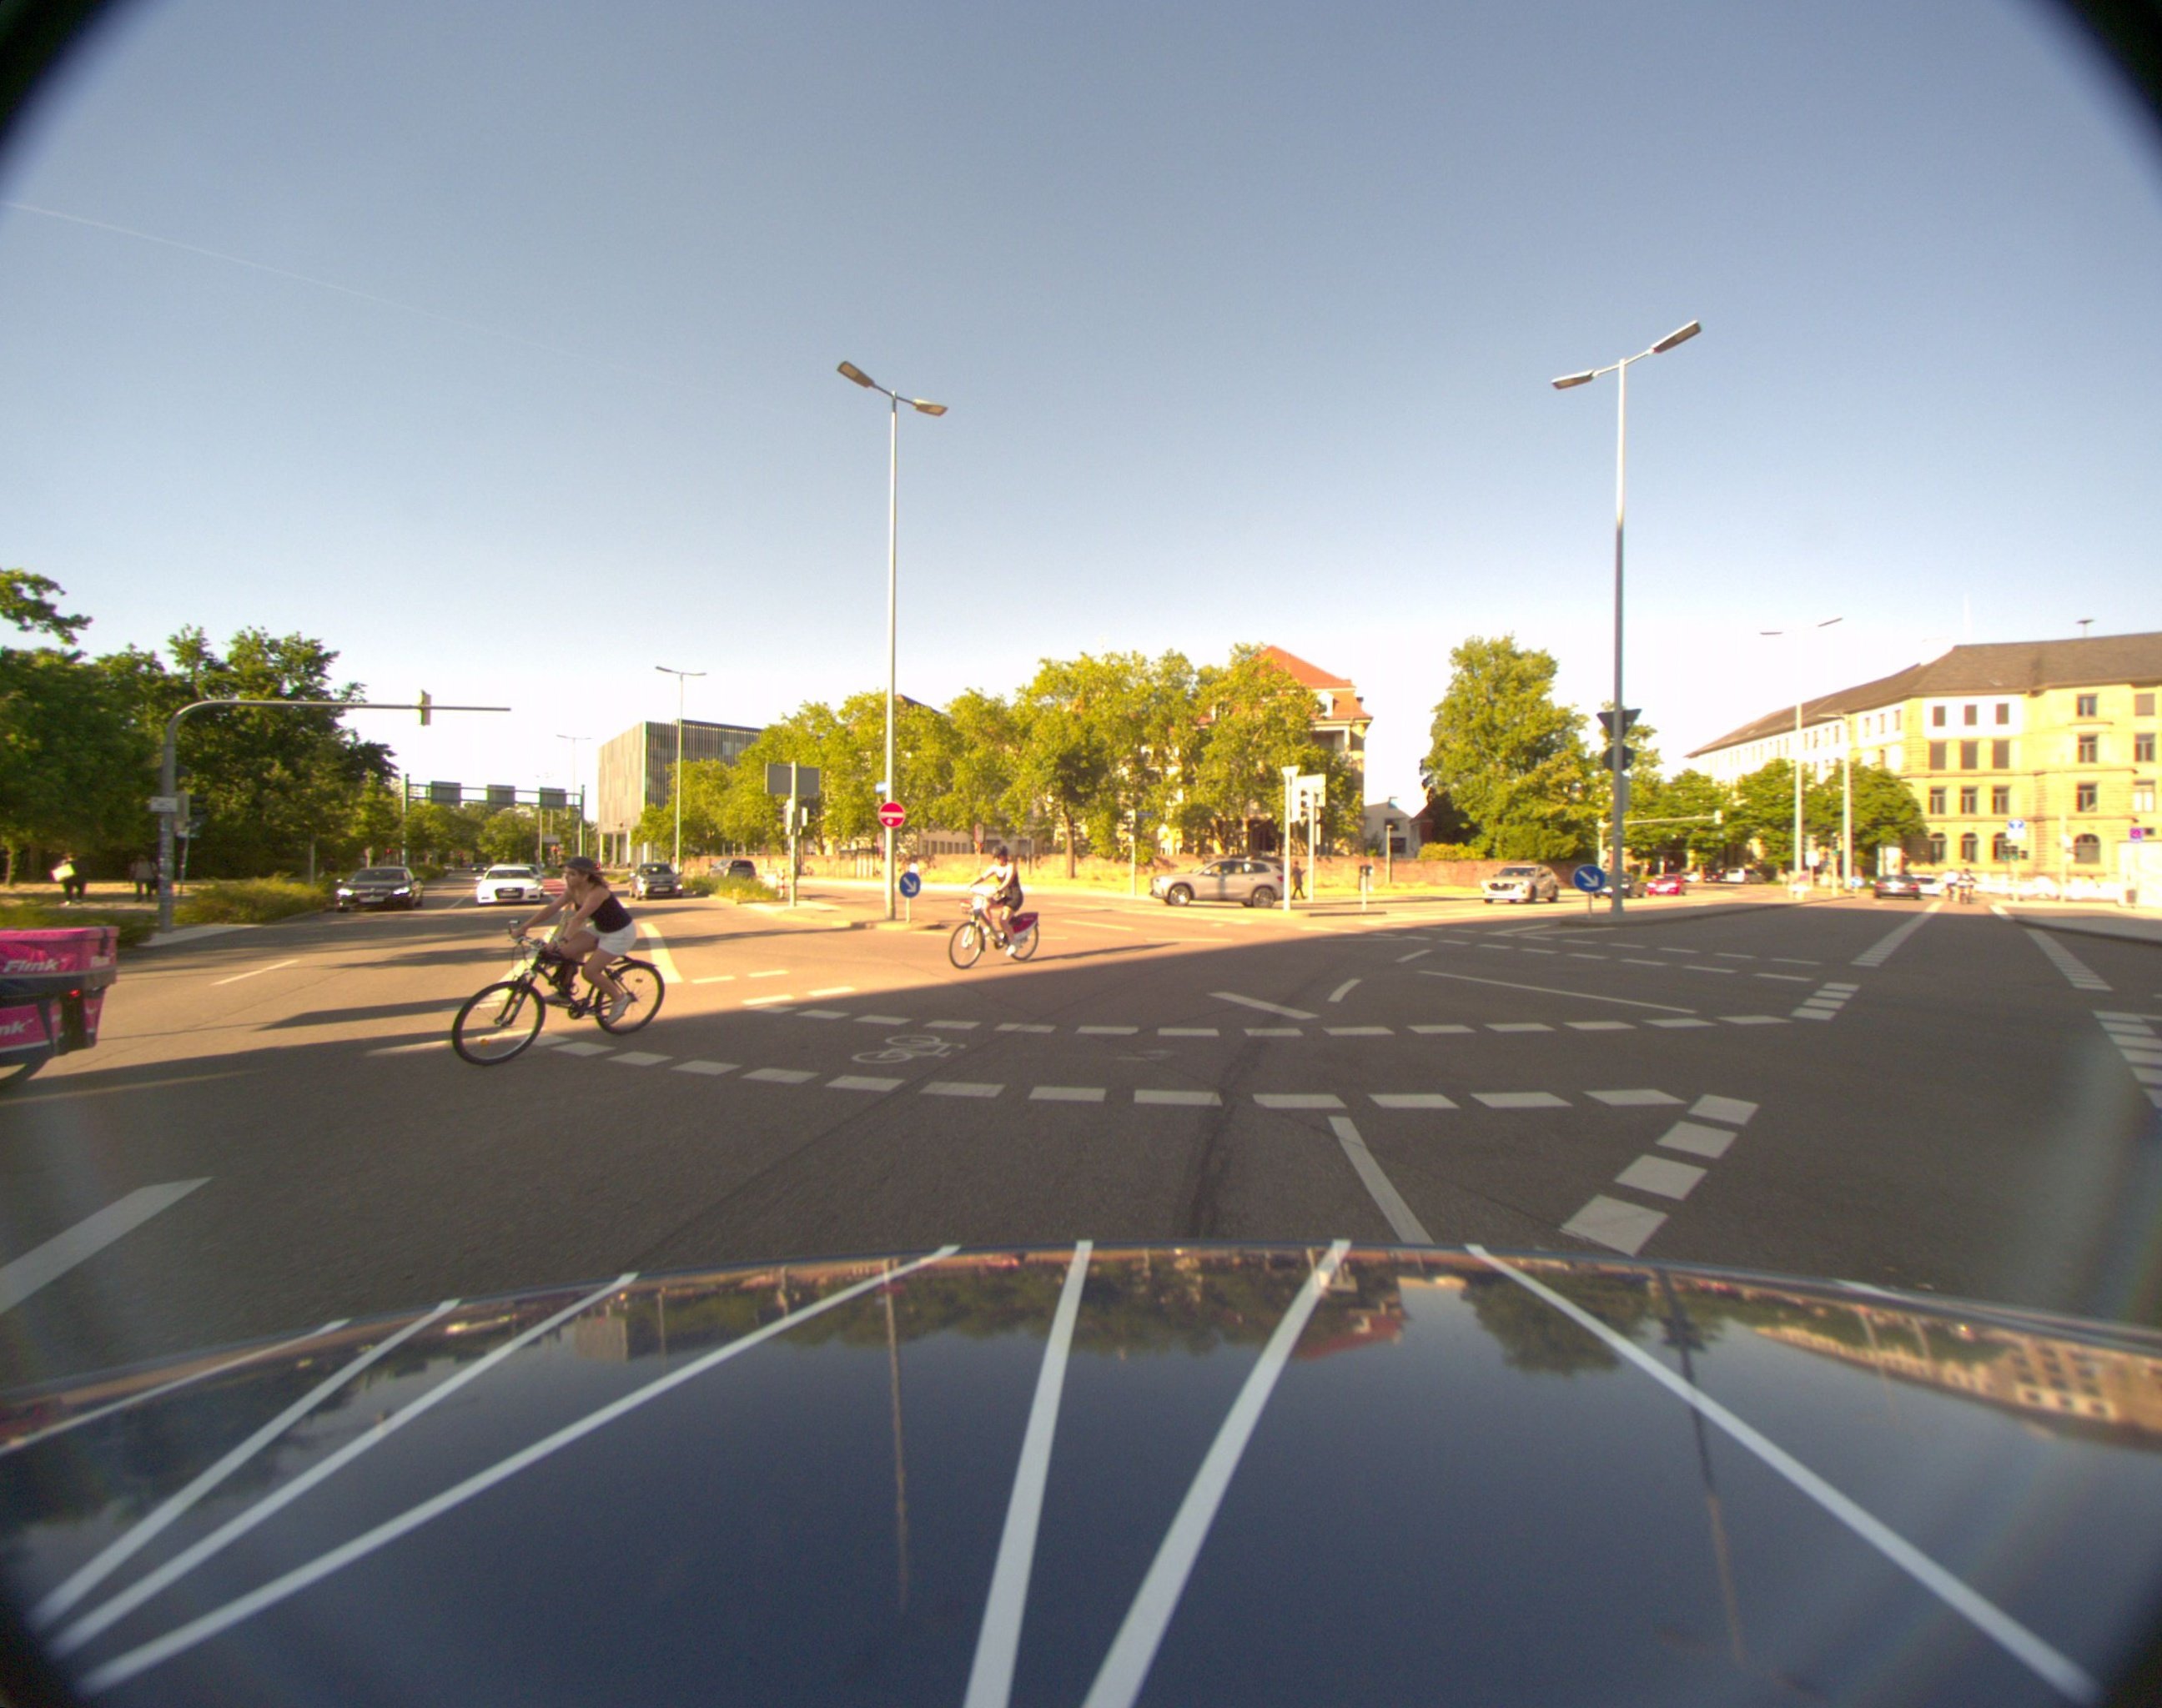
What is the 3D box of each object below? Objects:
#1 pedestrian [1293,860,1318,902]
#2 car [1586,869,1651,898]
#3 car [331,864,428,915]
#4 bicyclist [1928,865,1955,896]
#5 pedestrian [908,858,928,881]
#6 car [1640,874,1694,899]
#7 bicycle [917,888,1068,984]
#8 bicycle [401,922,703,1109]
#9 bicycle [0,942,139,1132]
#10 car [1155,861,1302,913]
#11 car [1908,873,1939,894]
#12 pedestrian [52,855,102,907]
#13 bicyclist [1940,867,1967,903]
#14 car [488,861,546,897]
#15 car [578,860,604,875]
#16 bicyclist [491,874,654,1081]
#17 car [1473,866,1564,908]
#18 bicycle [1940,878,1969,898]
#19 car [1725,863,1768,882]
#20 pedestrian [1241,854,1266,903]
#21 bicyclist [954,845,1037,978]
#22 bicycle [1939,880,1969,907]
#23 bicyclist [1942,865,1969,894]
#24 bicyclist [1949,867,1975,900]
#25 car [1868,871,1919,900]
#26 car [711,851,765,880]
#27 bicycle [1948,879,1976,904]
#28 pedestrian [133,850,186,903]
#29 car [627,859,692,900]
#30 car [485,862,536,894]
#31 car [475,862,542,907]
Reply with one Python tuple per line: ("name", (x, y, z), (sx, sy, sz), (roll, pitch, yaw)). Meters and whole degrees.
("pedestrian", (9.261, 1.089, 31.328), (0.792, 1.644, 0.712), (2, 3, 4))
("car", (30.785, 1.675, 43.480), (4.616, 1.576, 2.189), (1, -2, -44))
("car", (-23.281, 1.116, 25.353), (1.807, 1.510, 3.989), (1, 0, -34))
("bicyclist", (47.864, 1.460, 42.250), (0.946, 1.643, 0.864), (0, 0, -35))
("pedestrian", (-10.710, 1.004, 49.812), (0.976, 1.527, 0.920), (0, 0, -37))
("car", (39.373, 2.166, 50.988), (4.616, 1.576, 2.189), (1, -2, -44))
("bicycle", (-1.200, 1.092, 10.696), (2.070, 1.115, 0.717), (-2, 1, -44))
("bicycle", (-4.143, 1.184, 6.146), (0.718, 1.114, 1.872), (-2, -1, 26))
("bicycle", (-8.130, 1.231, 4.833), (2.585, 1.149, 0.779), (1, 0, -28))
("car", (4.816, 1.061, 25.256), (4.361, 1.611, 2.155), (1, 0, -6))
("car", (58.022, 2.005, 52.338), (3.511, 1.330, 1.380), (1, 0, -41))
("pedestrian", (-30.585, 0.819, 23.167), (0.764, 1.534, 0.845), (1, 0, -43))
("bicyclist", (41.877, 1.488, 36.463), (1.064, 1.658, 0.763), (0, -2, -38))
("car", (-25.391, 1.079, 34.318), (1.929, 1.510, 4.007), (1, 0, -34))
("car", (-55.899, 1.548, 86.594), (2.004, 1.586, 3.989), (0, 0, -40))
("bicyclist", (-4.123, 0.937, 6.193), (0.715, 1.539, 0.851), (-2, -1, 26))
("car", (19.012, 1.397, 32.921), (4.616, 1.673, 2.189), (1, -2, -44))
("bicycle", (51.362, 1.970, 44.655), (2.193, 1.091, 0.880), (1, 0, -35))
("car", (82.495, 2.274, 94.239), (4.154, 2.002, 1.997), (-3, 1, -16))
("pedestrian", (6.973, 0.988, 30.760), (0.871, 1.884, 0.713), (2, 3, 9))
("bicyclist", (-1.202, 0.770, 10.699), (0.851, 1.778, 0.715), (-2, 1, -44))
("bicycle", (41.874, 1.882, 36.434), (2.611, 1.179, 0.763), (0, -2, -38))
("bicyclist", (51.396, 1.488, 44.643), (0.946, 1.643, 0.864), (0, 0, -31))
("bicyclist", (44.796, 1.501, 38.638), (1.064, 1.658, 0.763), (0, -2, -38))
("car", (46.150, 1.776, 43.130), (3.986, 1.436, 1.802), (-1, 0, -40))
("car", (-21.143, 0.681, 46.732), (2.004, 1.674, 4.616), (1, 0, -38))
("bicycle", (44.812, 1.895, 38.635), (2.611, 1.179, 0.763), (0, -2, -38))
("pedestrian", (-31.189, 0.749, 25.724), (1.021, 1.739, 0.847), (1, 0, -43))
("car", (-17.223, 0.992, 30.967), (1.929, 1.510, 4.007), (1, 0, -34))
("car", (-29.597, 1.196, 39.516), (1.929, 1.510, 4.007), (1, 0, -34))
("car", (-21.308, 1.074, 28.422), (1.807, 1.510, 4.420), (1, 0, -34))
